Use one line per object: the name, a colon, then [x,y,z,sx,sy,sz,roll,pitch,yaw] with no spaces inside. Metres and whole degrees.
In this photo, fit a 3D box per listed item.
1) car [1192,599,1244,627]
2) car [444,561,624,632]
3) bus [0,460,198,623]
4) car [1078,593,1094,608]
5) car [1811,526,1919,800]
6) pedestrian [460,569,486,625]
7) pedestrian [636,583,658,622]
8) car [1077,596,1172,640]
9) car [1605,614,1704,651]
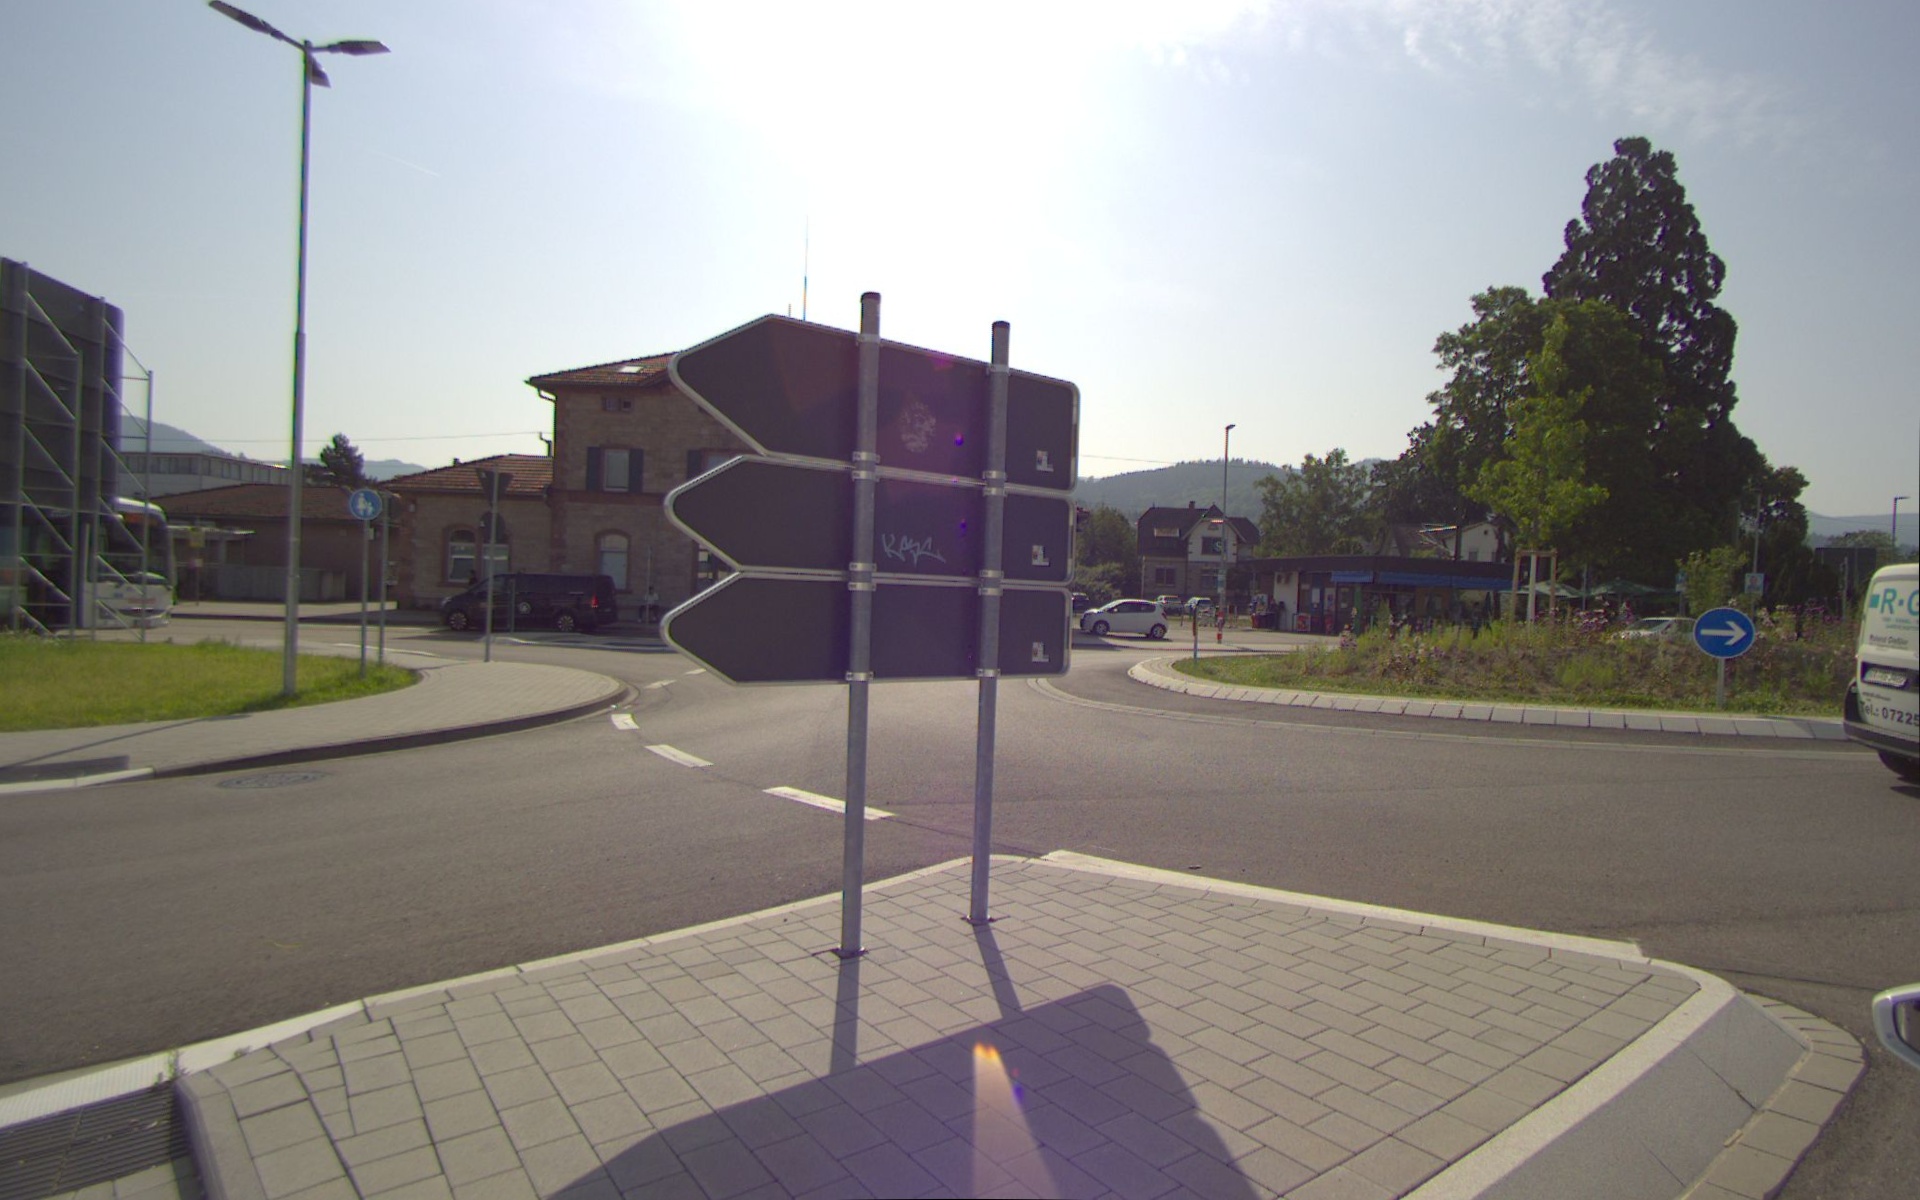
car: [13.589,0.669,52.987,1.390,1.344,3.590,2,0,-7]
car: [-13.360,-0.100,31.694,4.786,1.971,1.845,2,0,-1]
bus: [-23.005,-1.287,20.633,11.511,3.165,3.069,2,1,-10]
car: [12.185,0.068,97.453,1.364,1.382,3.538,2,0,5]
car: [9.660,0.458,7.650,4.510,2.106,1.813,0,2,11]
pedestrian: [-17.993,-0.106,37.096,0.566,2.040,0.530,2,0,16]
pedestrian: [-11.236,0.077,36.069,0.541,1.367,0.566,2,0,0]
car: [6.546,0.703,40.187,3.470,1.469,1.392,4,0,-4]
car: [24.120,1.117,34.885,3.200,1.187,1.384,1,1,-25]
